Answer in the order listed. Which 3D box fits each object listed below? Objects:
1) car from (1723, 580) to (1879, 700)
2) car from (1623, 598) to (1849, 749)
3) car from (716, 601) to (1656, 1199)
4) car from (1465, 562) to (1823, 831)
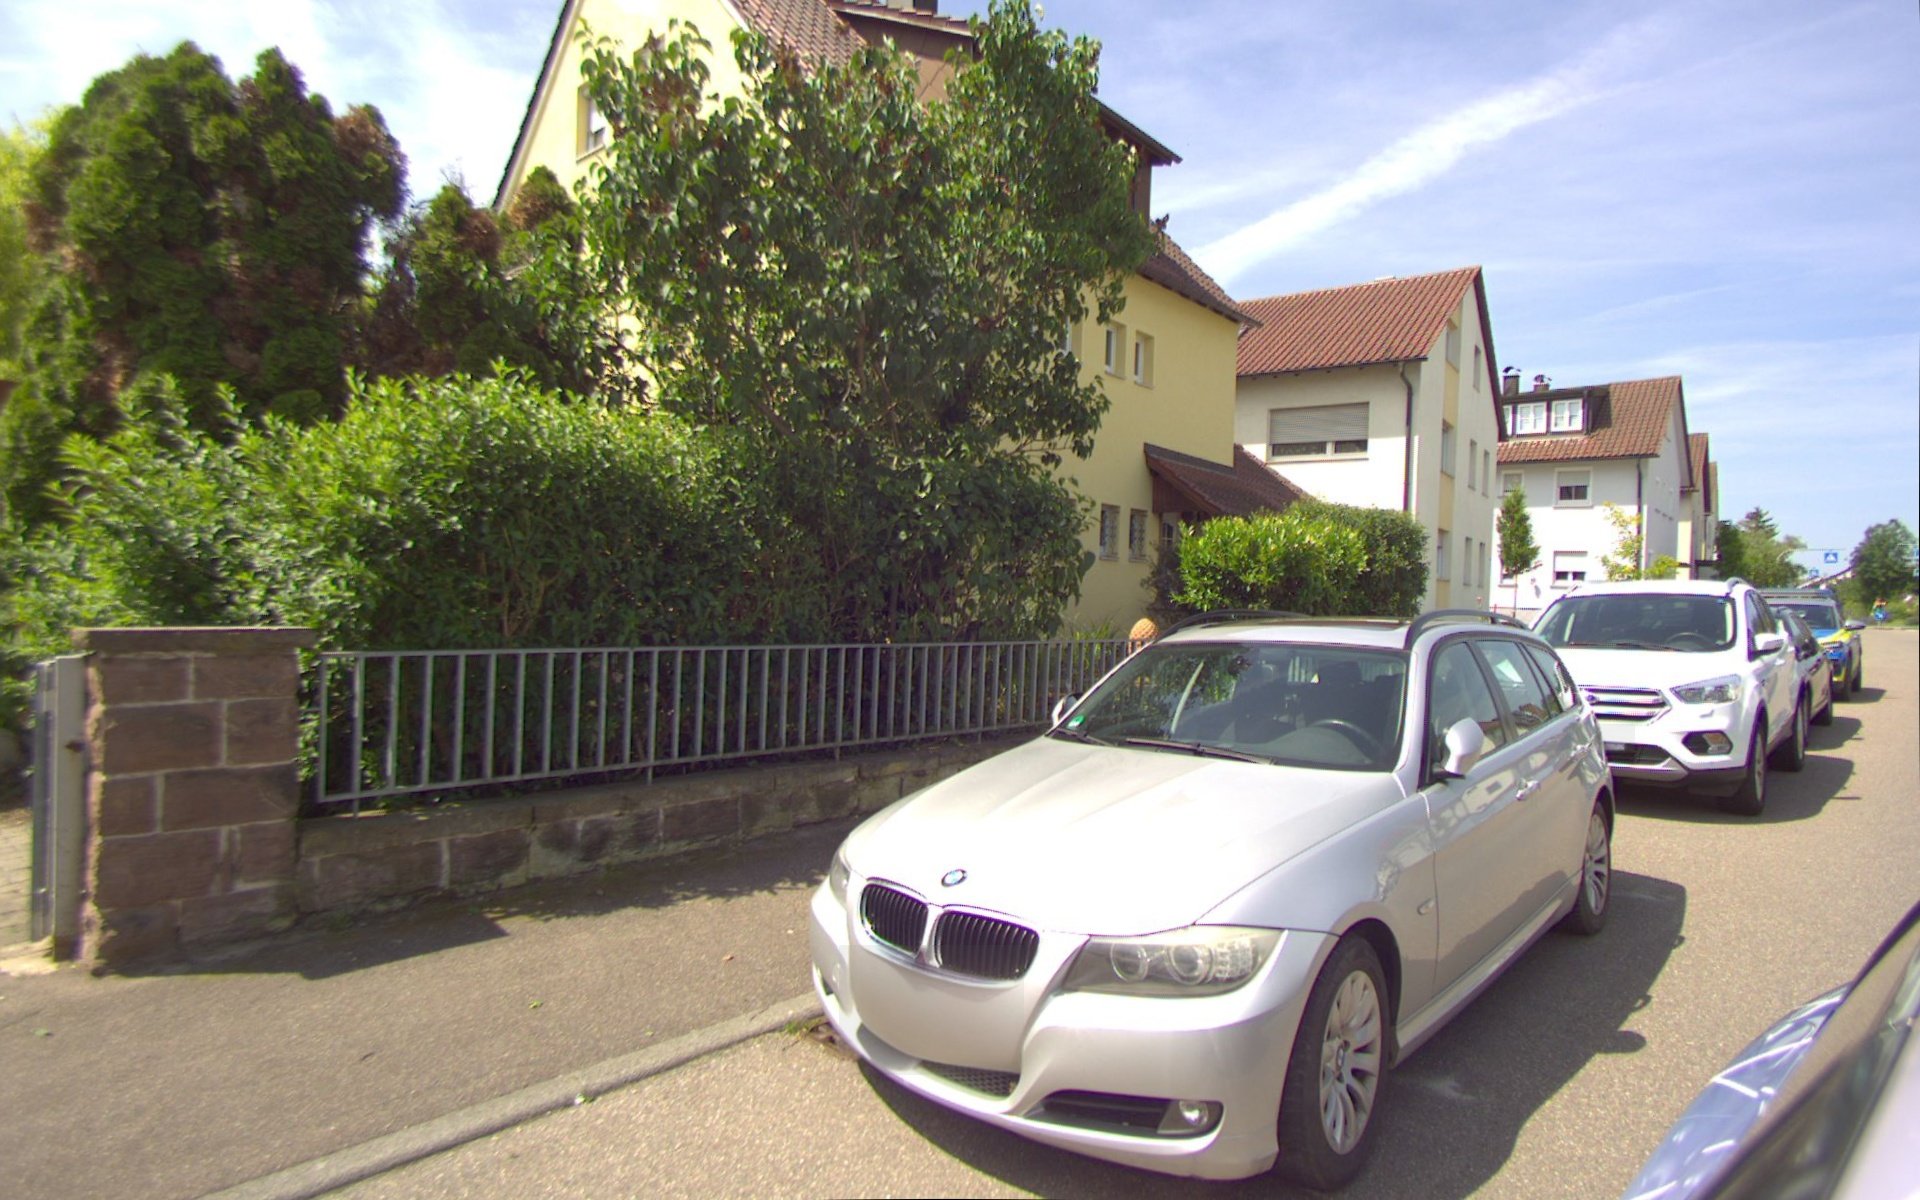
[{"bbox_3d":[14.160,0.587,16.964,1.666,1.771,3.990,0,0,45],"label":"car"},{"bbox_3d":[9.397,0.732,12.121,1.624,1.487,4.302,0,0,45],"label":"car"},{"bbox_3d":[1.359,0.731,4.142,1.751,1.439,4.350,-1,-1,44],"label":"car"},{"bbox_3d":[5.897,0.608,8.489,1.736,1.683,4.267,0,0,45],"label":"car"}]
